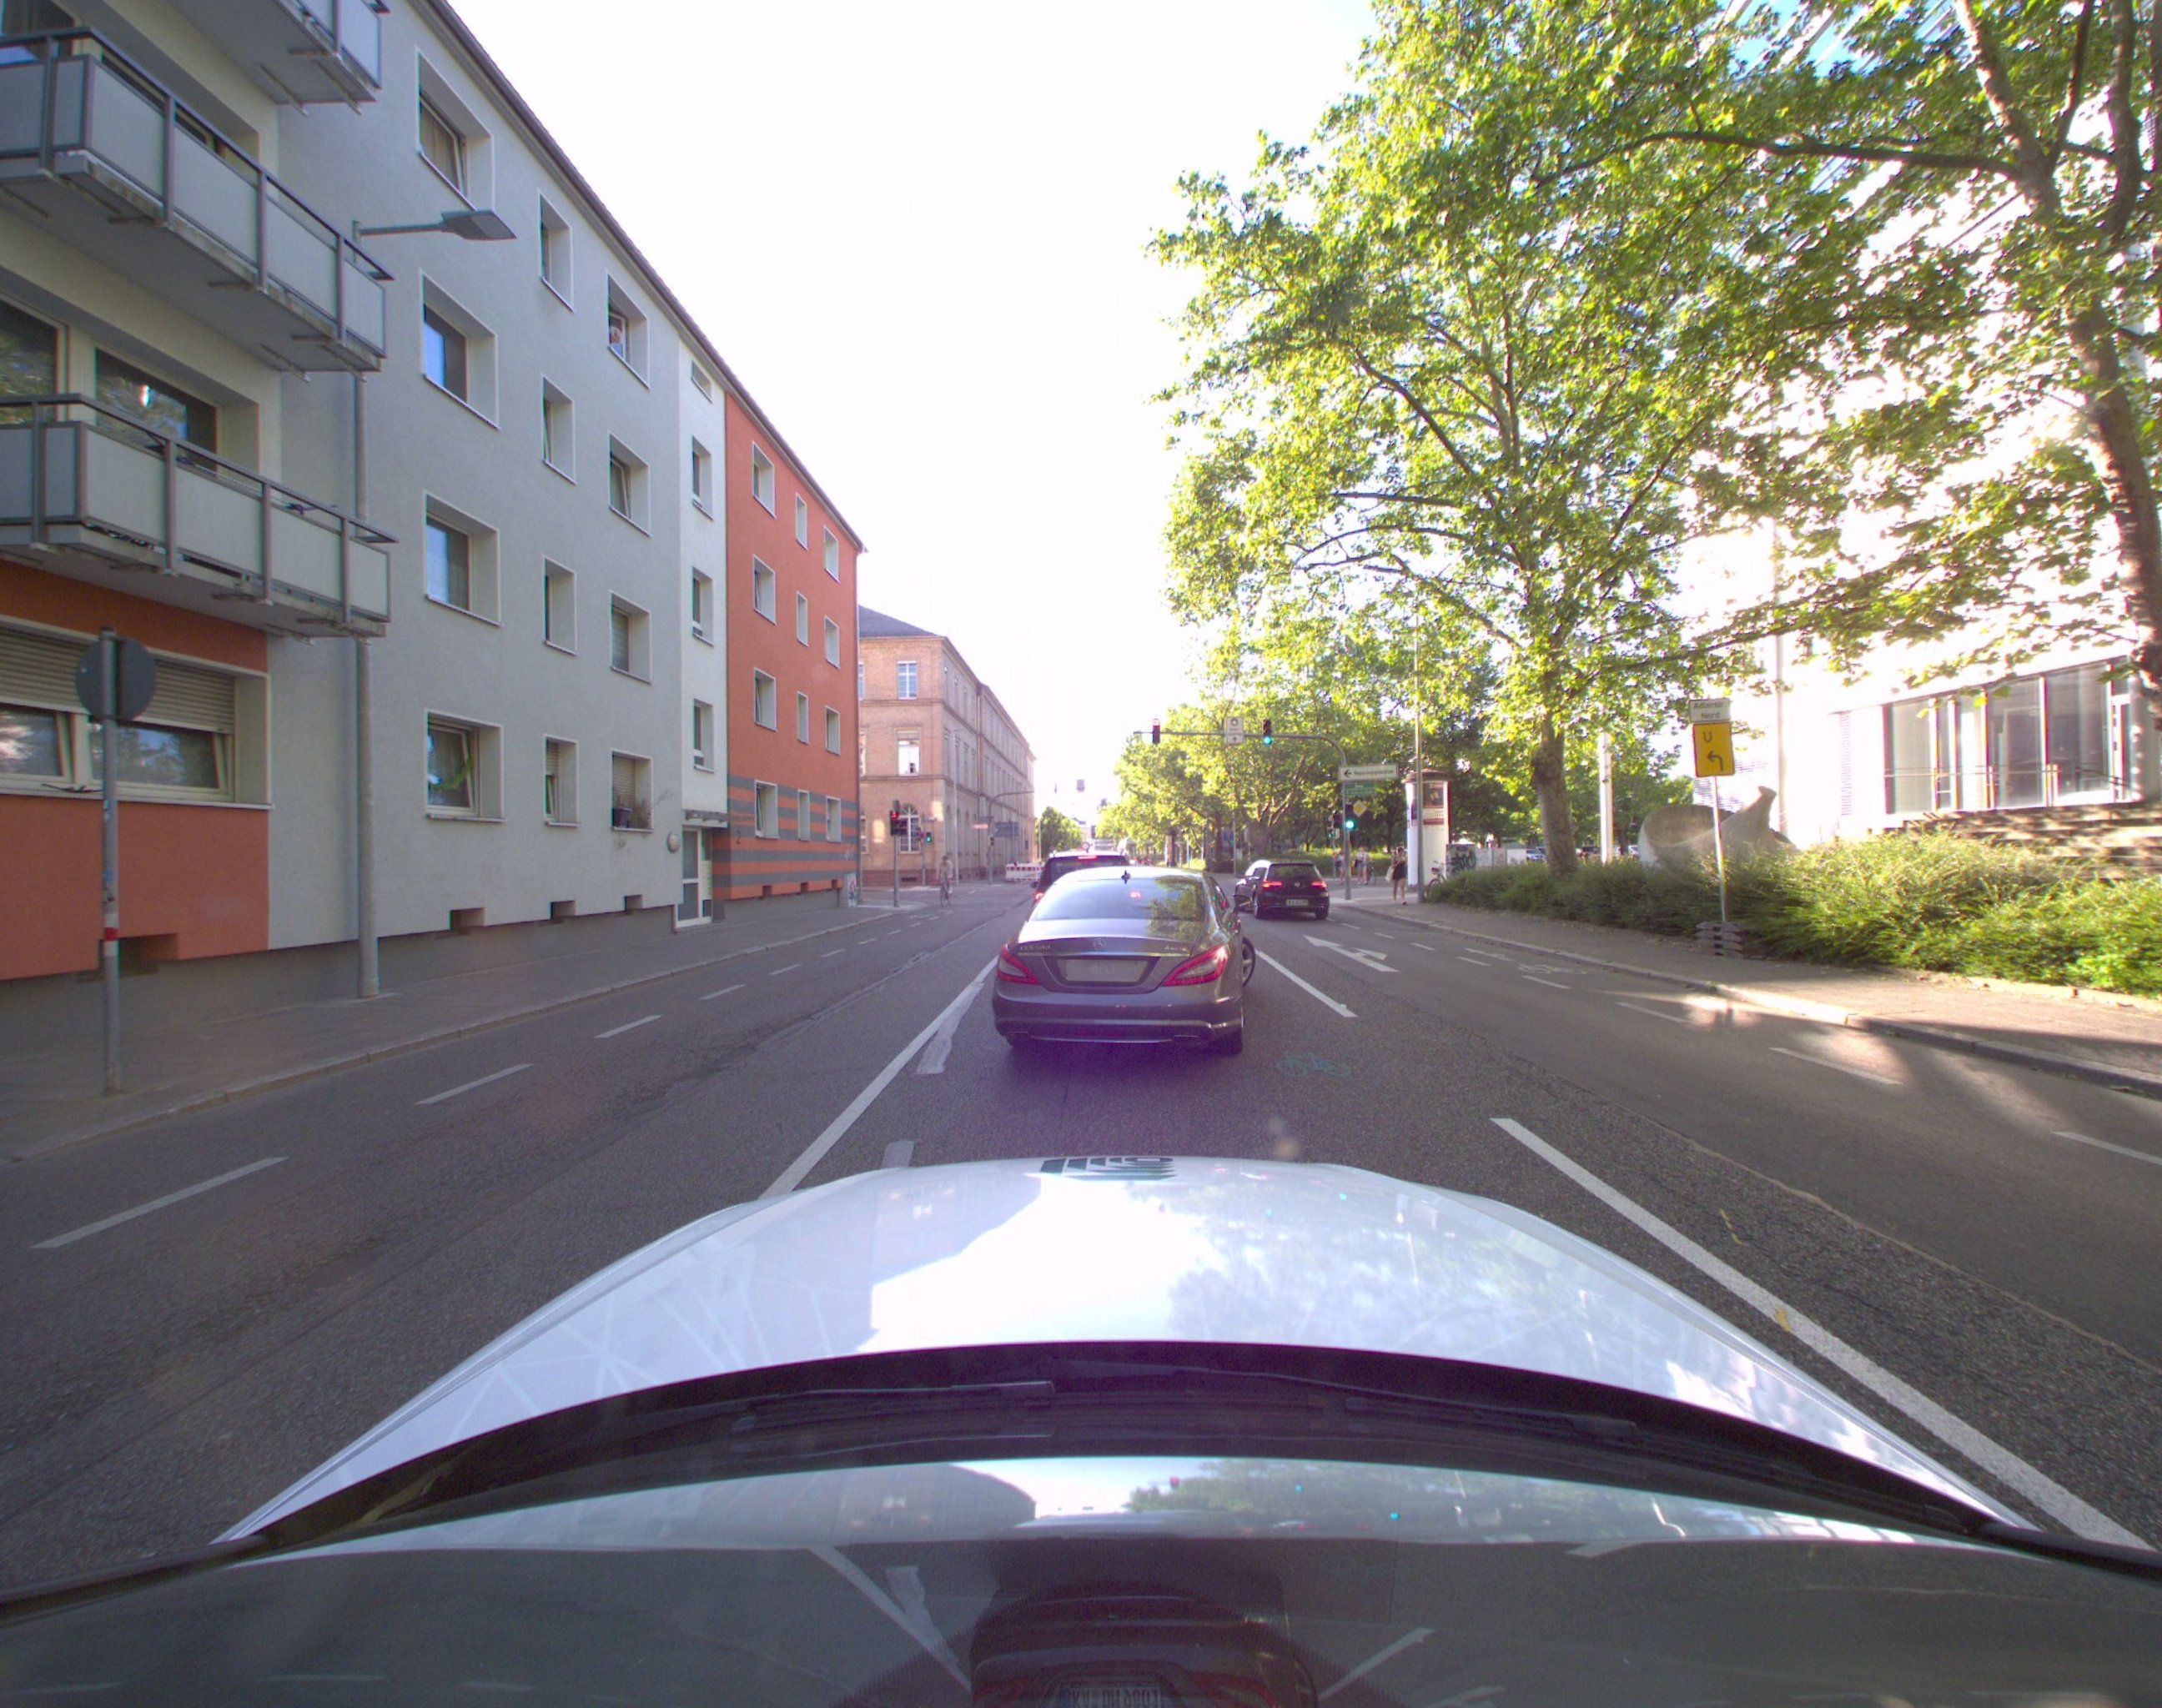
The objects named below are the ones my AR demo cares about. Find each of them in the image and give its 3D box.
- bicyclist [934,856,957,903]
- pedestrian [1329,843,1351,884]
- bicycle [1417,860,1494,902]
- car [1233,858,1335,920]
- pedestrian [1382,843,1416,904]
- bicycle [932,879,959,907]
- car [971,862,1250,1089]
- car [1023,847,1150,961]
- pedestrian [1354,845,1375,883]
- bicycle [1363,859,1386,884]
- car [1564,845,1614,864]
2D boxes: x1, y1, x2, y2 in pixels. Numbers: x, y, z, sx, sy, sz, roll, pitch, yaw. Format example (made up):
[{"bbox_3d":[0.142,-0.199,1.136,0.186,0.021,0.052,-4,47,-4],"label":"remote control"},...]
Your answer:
[{"bbox_3d":[-4.571,0.845,27.505,0.646,1.558,0.807,0,-1,1],"label":"bicyclist"},{"bbox_3d":[11.874,0.437,37.300,0.728,1.808,0.911,-2,-2,6],"label":"pedestrian"},{"bbox_3d":[10.802,0.774,23.501,1.969,1.190,0.528,0,-1,0],"label":"bicycle"},{"bbox_3d":[5.081,0.836,20.895,1.684,1.440,3.902,0,-1,1],"label":"car"},{"bbox_3d":[8.852,0.538,22.701,0.791,1.630,0.912,-3,-2,19],"label":"pedestrian"},{"bbox_3d":[-4.566,1.299,27.473,0.546,0.891,1.868,0,-1,2],"label":"bicycle"},{"bbox_3d":[0.584,0.806,7.572,1.831,1.429,4.530,-1,-1,11],"label":"car"},{"bbox_3d":[0.201,0.742,13.861,1.801,1.612,4.003,-1,-1,3],"label":"car"},{"bbox_3d":[13.000,0.463,37.382,0.680,1.697,0.971,0,-1,4],"label":"pedestrian"},{"bbox_3d":[13.436,0.775,37.285,0.522,1.100,1.743,0,-1,4],"label":"bicycle"},{"bbox_3d":[39.744,0.060,63.822,1.624,1.483,3.796,0,-1,1],"label":"car"}]
